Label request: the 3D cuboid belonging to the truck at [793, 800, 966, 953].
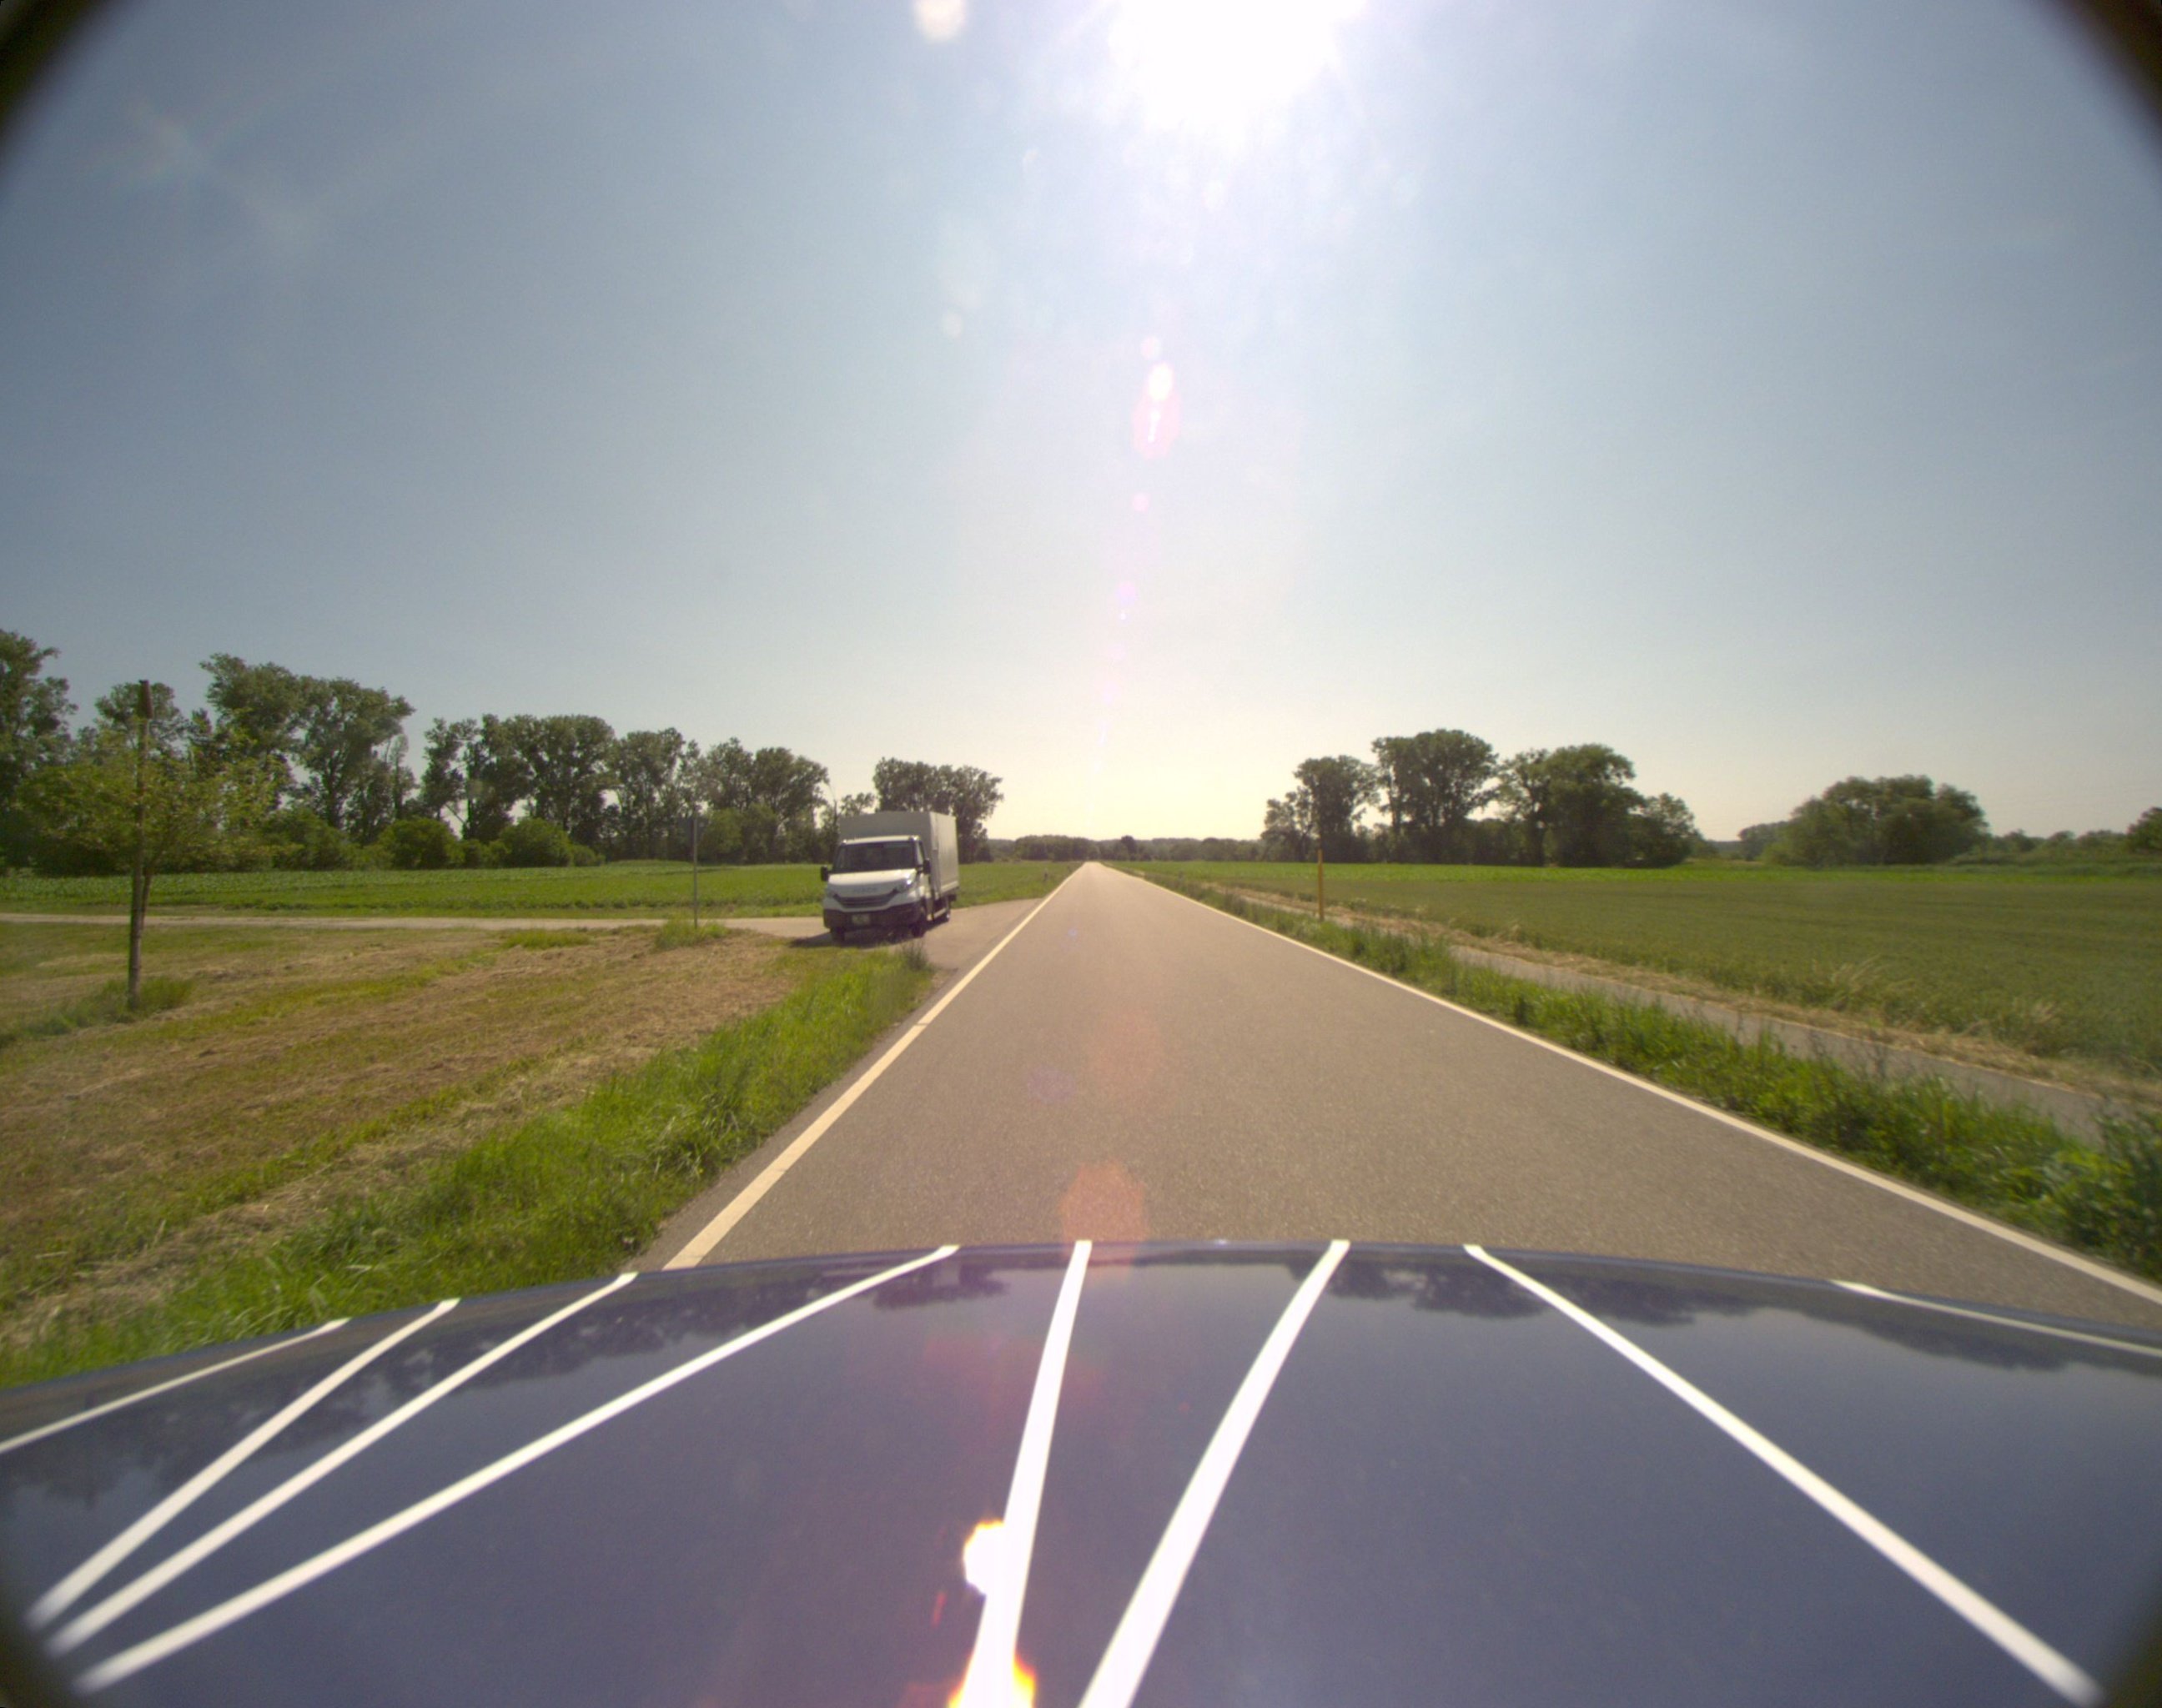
[{"bbox_3d":[-4.536,0.432,18.666,2.341,2.925,7.007,-3,0,-1],"label":"truck"}]
